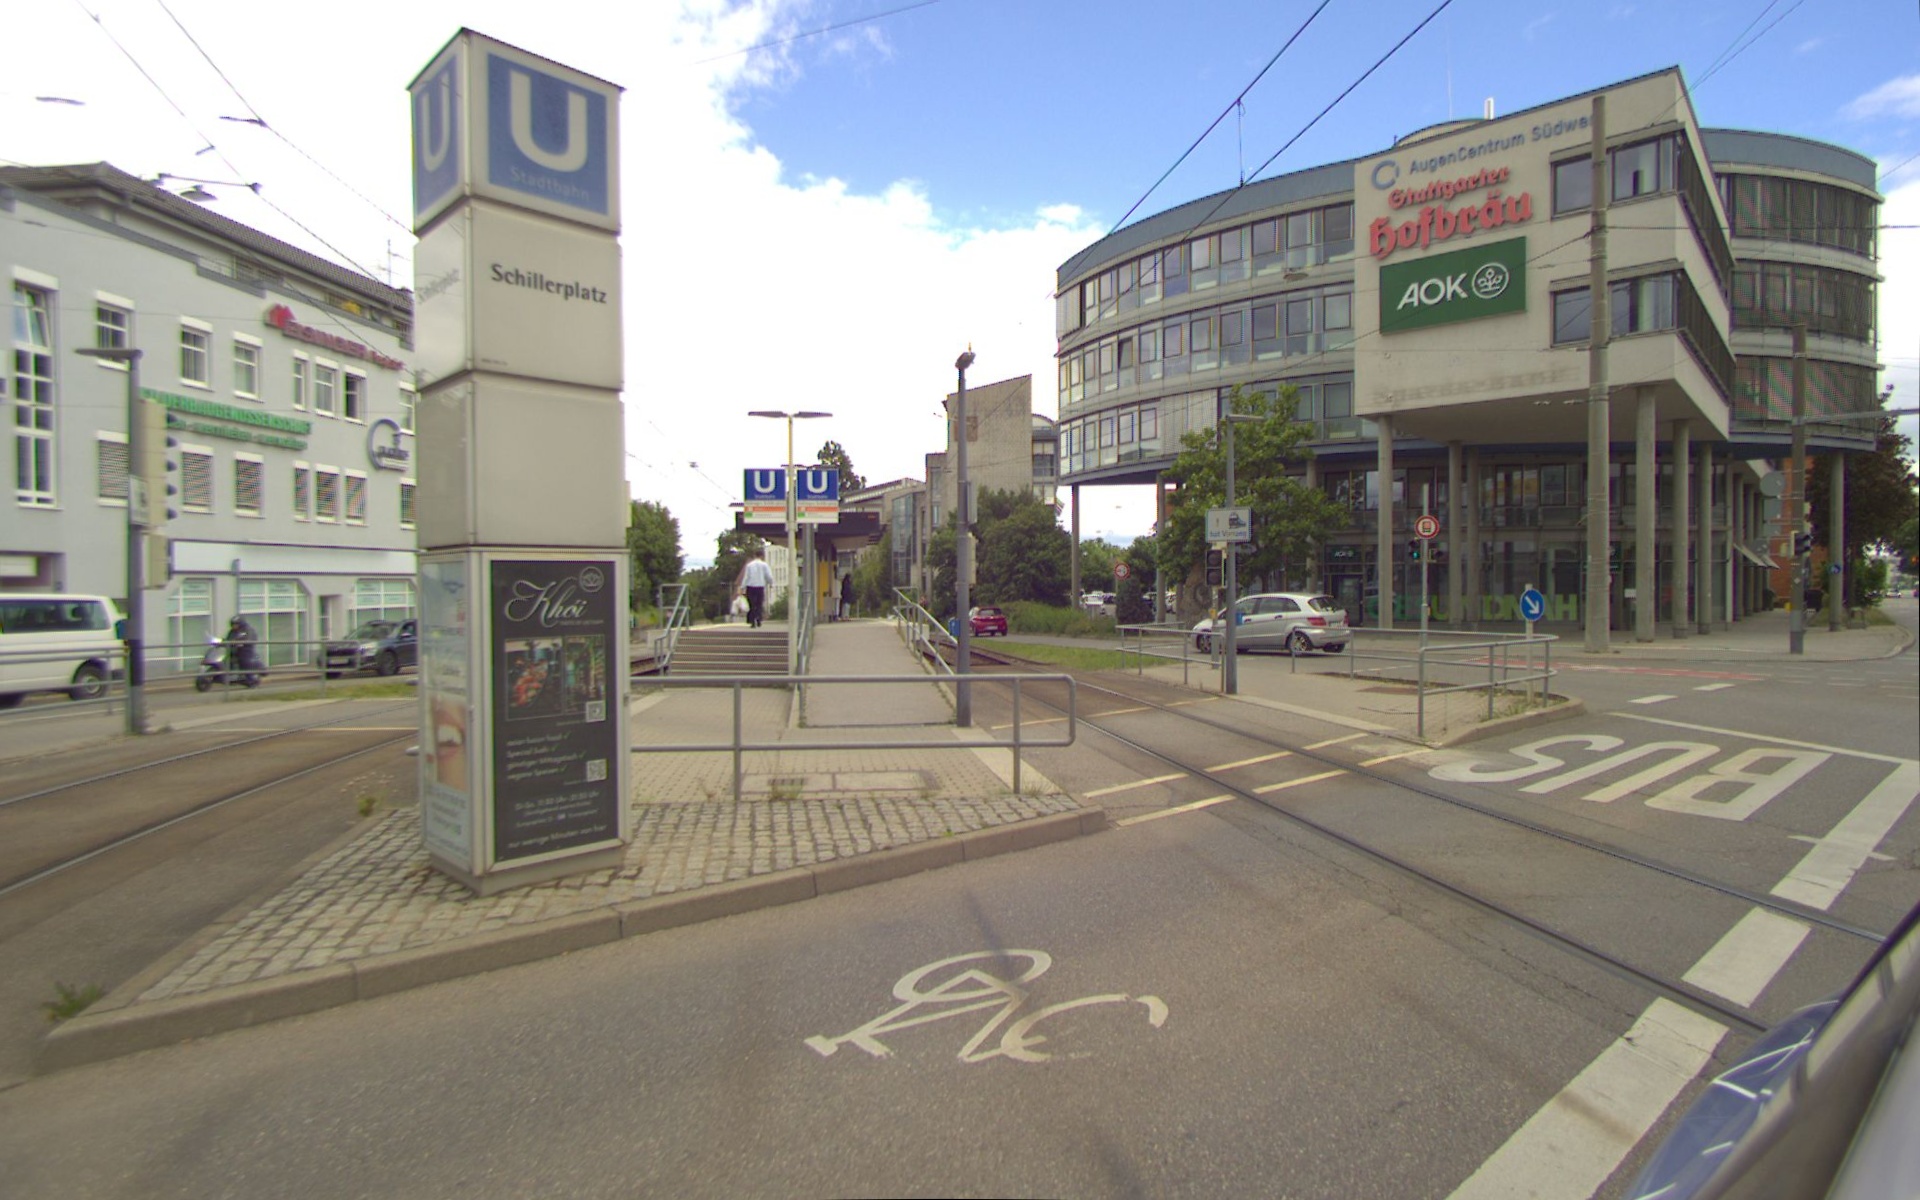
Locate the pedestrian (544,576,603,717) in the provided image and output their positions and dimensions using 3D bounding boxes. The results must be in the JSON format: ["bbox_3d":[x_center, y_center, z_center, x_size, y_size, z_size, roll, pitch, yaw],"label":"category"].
[{"bbox_3d":[-4.720,0.562,12.373,0.515,1.656,0.588,-2,-2,-7],"label":"pedestrian"}]

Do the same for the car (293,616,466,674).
[{"bbox_3d":[-16.025,1.208,28.295,1.847,1.465,4.778,-1,-1,4],"label":"car"}]

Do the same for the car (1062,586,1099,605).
[{"bbox_3d":[13.051,-0.492,109.735,3.936,2.039,1.994,0,0,10],"label":"car"}]

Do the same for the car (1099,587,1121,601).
[{"bbox_3d":[19.143,-0.812,129.348,1.975,1.732,4.290,-1,0,20],"label":"car"}]

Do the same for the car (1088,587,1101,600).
[{"bbox_3d":[21.635,-1.041,162.523,1.967,2.039,3.991,0,0,8],"label":"car"}]

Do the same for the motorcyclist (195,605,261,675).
[{"bbox_3d":[-16.050,0.866,22.199,0.873,1.494,0.804,0,0,9],"label":"motorcyclist"}]

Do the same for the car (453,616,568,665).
[{"bbox_3d":[-15.404,1.340,34.997,1.845,1.457,4.750,-1,0,0],"label":"car"}]

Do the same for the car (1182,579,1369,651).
[{"bbox_3d":[8.132,0.363,26.396,1.964,1.732,4.314,0,0,-39],"label":"car"}]

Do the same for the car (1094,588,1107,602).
[{"bbox_3d":[21.218,-0.777,152.653,1.967,2.039,3.991,0,0,8],"label":"car"}]

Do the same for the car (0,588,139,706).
[{"bbox_3d":[-16.578,0.781,16.719,1.846,1.919,4.923,-1,0,3],"label":"car"}]

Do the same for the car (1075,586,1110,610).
[{"bbox_3d":[10.123,-0.136,77.575,1.961,1.732,4.320,-1,0,-2],"label":"car"}]

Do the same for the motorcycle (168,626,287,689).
[{"bbox_3d":[-16.039,1.229,22.247,0.872,1.244,2.150,0,0,9],"label":"motorcycle"}]

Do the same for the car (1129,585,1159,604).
[{"bbox_3d":[17.927,-0.516,98.972,1.961,1.732,4.320,-1,0,-2],"label":"car"}]

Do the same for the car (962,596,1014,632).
[{"bbox_3d":[1.356,0.668,51.389,1.959,1.732,4.324,-1,0,-8],"label":"car"}]

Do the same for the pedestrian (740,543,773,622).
[{"bbox_3d":[-4.696,-0.393,23.303,0.681,1.766,0.616,-2,-2,-11],"label":"pedestrian"}]

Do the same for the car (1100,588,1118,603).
[{"bbox_3d":[20.040,-0.614,136.142,1.971,2.039,3.981,0,0,15],"label":"car"}]
